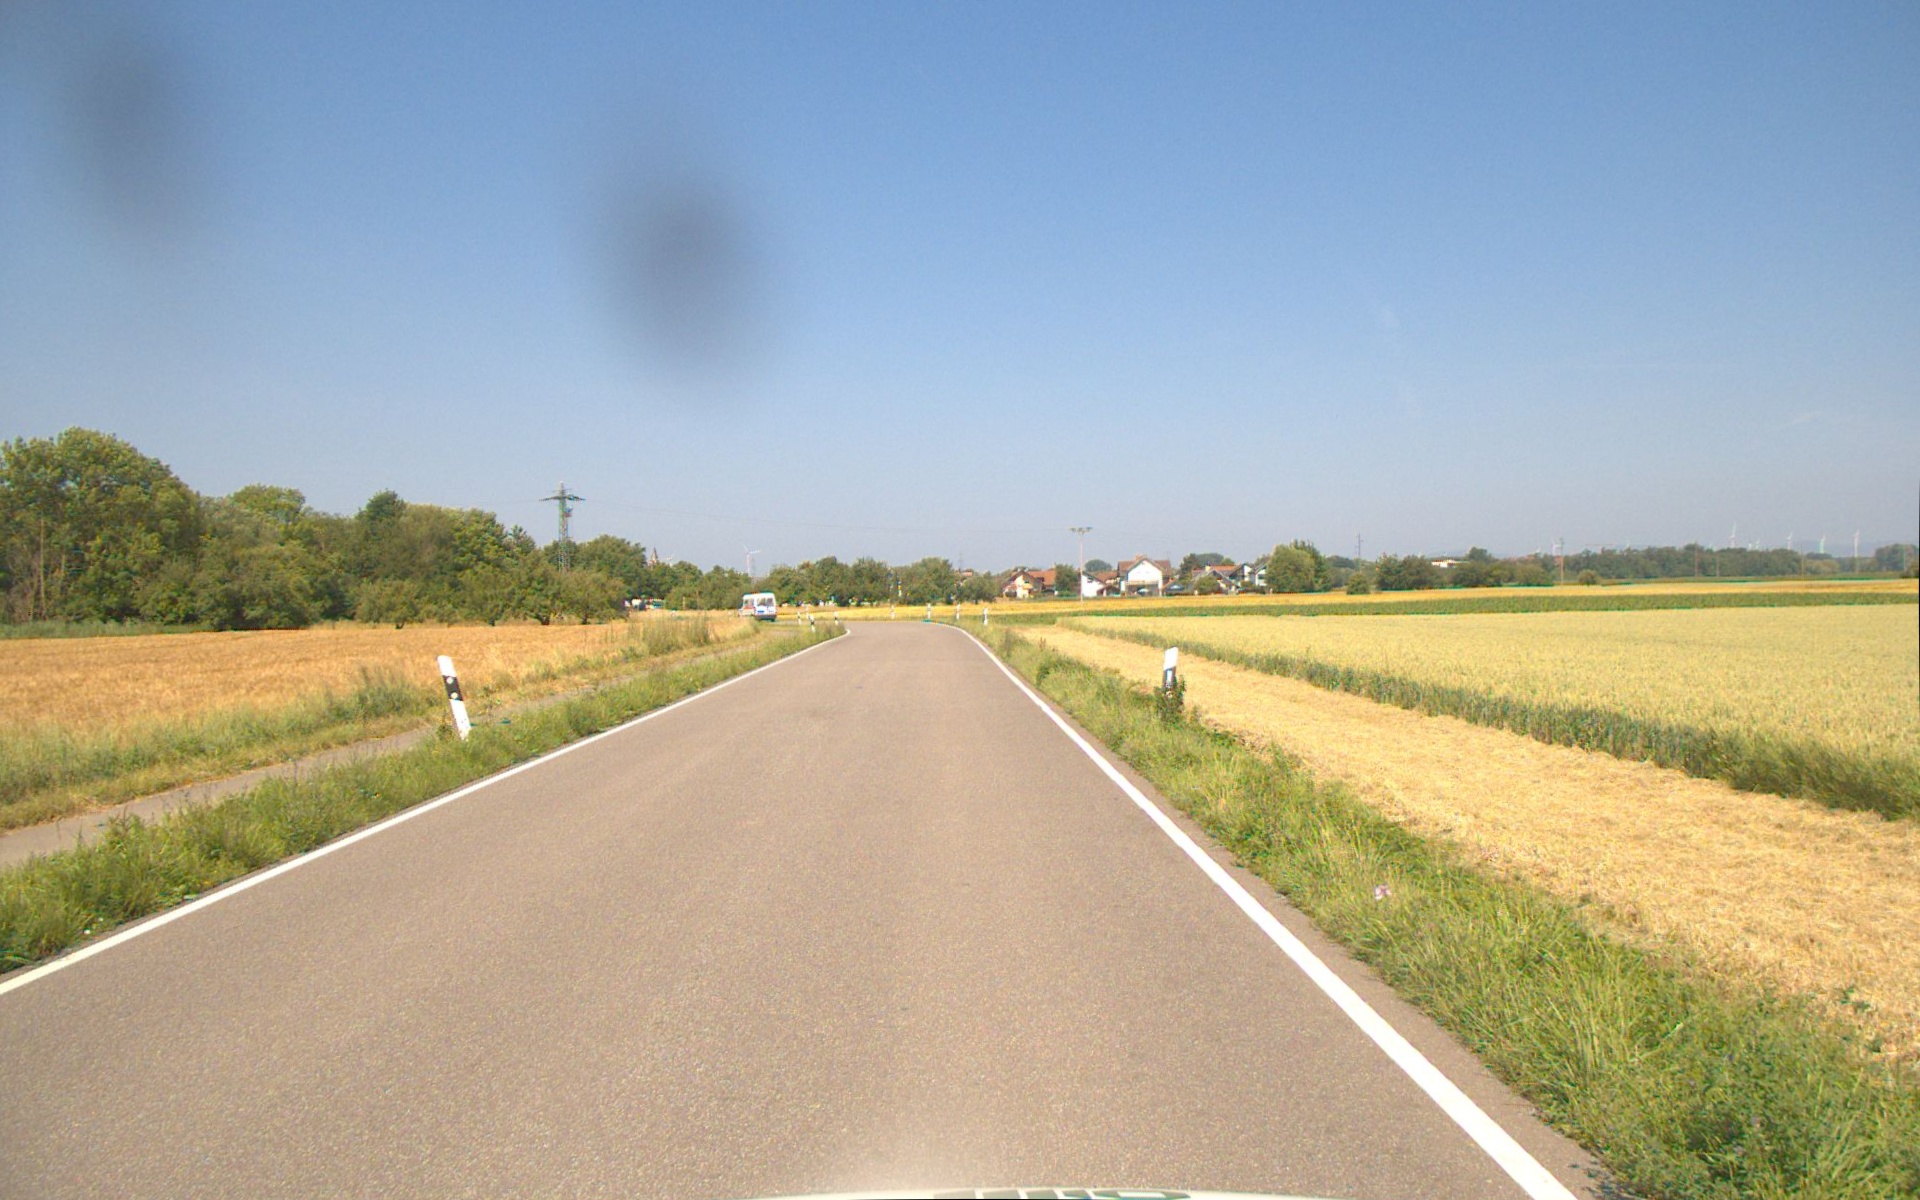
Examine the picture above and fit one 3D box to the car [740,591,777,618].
[{"bbox_3d":[-17.629,0.411,144.450,1.967,2.306,4.692,-2,0,-23],"label":"car"}]
